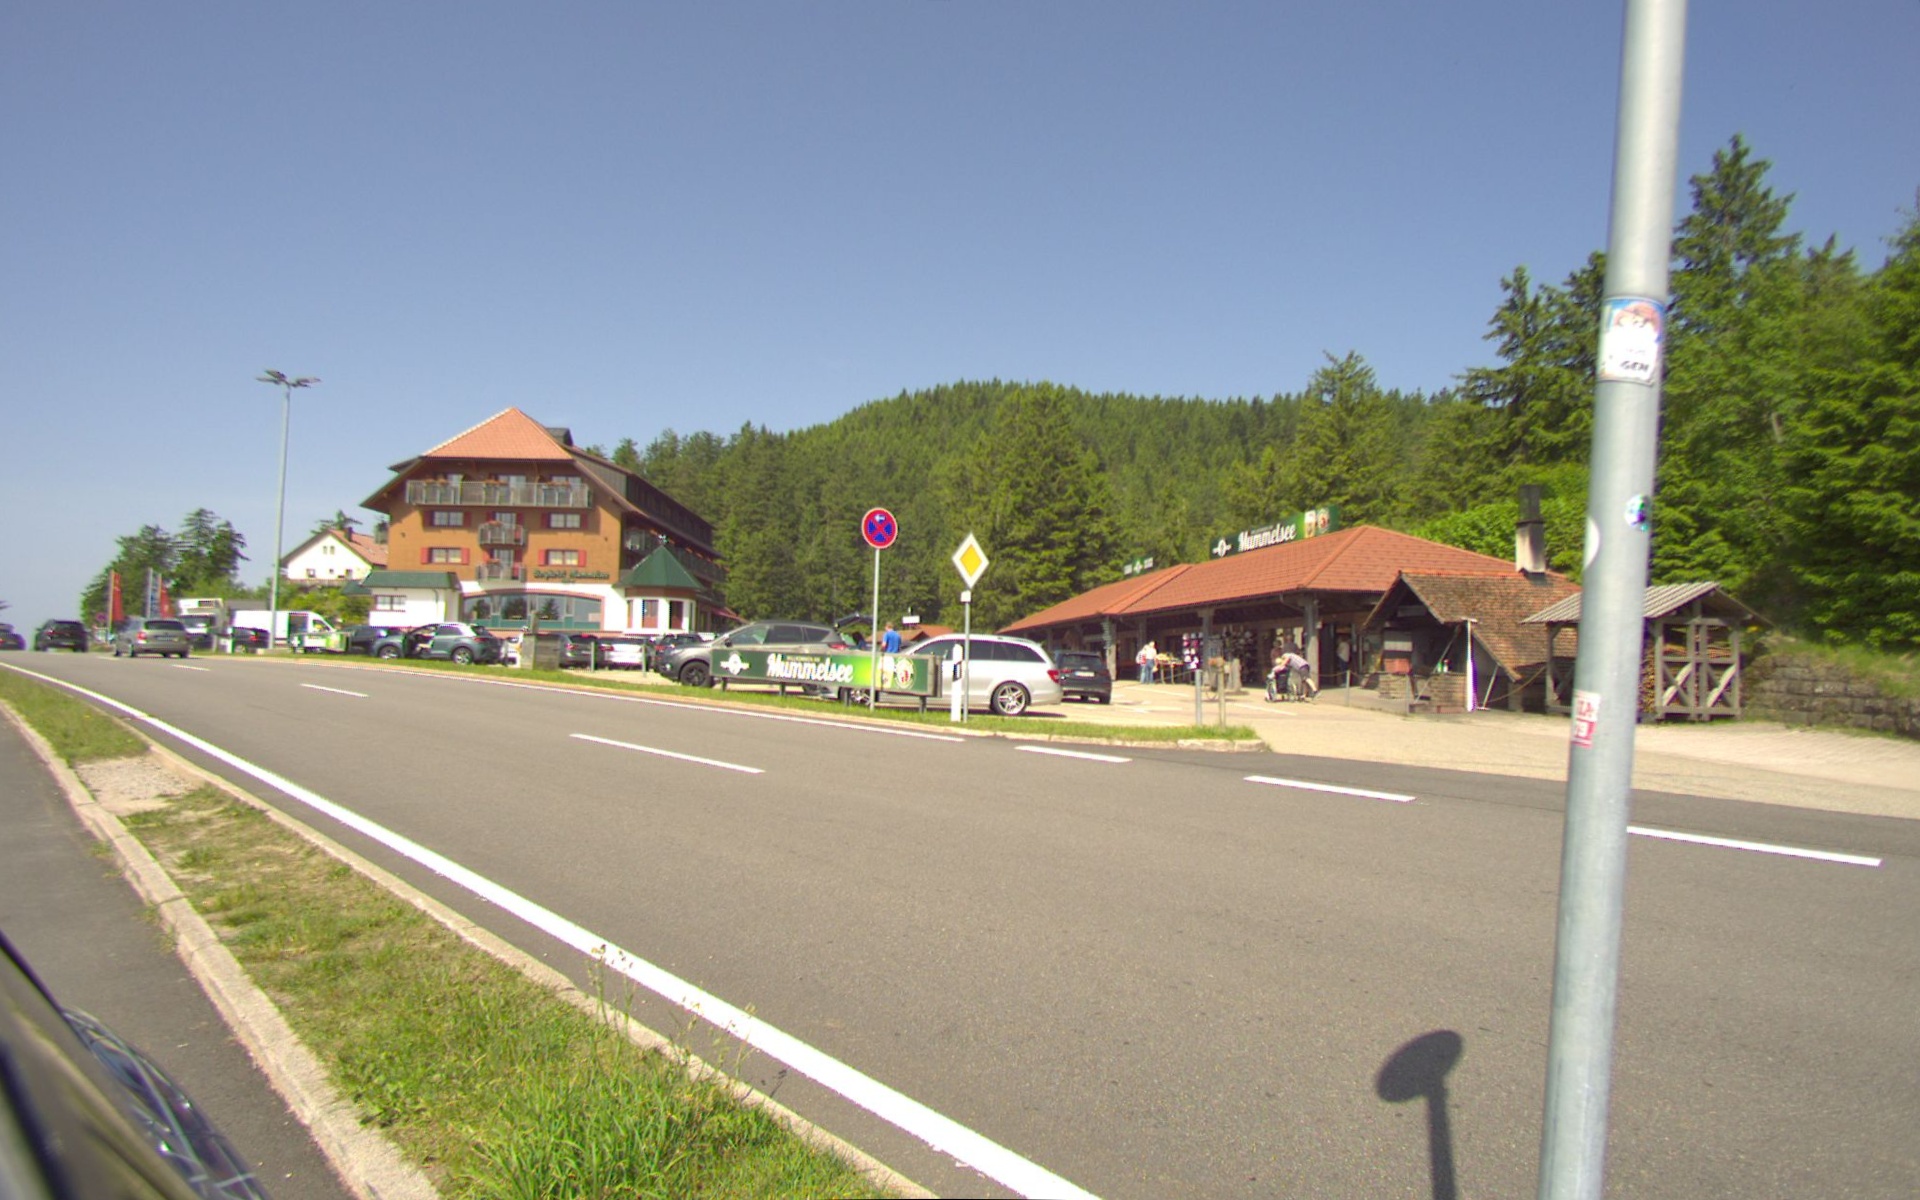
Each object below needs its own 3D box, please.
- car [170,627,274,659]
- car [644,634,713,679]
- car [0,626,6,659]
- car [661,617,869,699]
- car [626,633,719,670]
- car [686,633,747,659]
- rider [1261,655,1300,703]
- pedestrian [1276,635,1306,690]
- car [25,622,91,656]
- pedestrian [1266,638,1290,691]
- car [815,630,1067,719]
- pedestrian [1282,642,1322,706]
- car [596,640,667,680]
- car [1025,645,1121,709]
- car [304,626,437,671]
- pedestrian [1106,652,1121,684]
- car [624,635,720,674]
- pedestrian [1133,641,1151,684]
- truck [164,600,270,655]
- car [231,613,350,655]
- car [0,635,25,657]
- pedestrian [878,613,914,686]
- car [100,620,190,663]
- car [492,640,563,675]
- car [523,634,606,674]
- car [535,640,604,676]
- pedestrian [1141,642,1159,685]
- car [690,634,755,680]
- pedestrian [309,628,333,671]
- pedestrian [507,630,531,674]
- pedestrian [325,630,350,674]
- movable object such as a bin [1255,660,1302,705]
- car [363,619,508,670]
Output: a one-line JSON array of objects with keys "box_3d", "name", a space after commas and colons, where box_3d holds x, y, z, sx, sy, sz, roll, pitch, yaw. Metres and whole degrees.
[{"box_3d": [-38.995, 2.282, 53.569, 4.029, 1.539, 1.828, 2, -3, -9], "name": "car"}, {"box_3d": [-11.194, 2.253, 40.513, 1.797, 1.641, 4.097, 2, -3, -3], "name": "car"}, {"box_3d": [-83.455, 3.596, 86.734, 5.916, 2.772, 1.989, -1, -3, 43], "name": "car"}, {"box_3d": [-4.409, 1.333, 23.296, 4.481, 1.668, 1.725, 2, -3, -7], "name": "car"}, {"box_3d": [-13.987, 2.522, 49.404, 4.032, 1.641, 1.826, 2, -3, -6], "name": "car"}, {"box_3d": [-17.688, 3.332, 73.568, 4.033, 1.729, 1.922, 2, -3, -4], "name": "car"}, {"box_3d": [8.969, 2.199, 28.368, 0.829, 1.284, 0.908, 1, -2, 4], "name": "rider"}, {"box_3d": [10.815, 2.027, 33.088, 0.740, 1.750, 0.802, 1, -2, 4], "name": "pedestrian"}, {"box_3d": [-46.732, 2.020, 52.390, 4.565, 1.660, 1.972, -1, -3, 42], "name": "car"}, {"box_3d": [10.690, 2.174, 34.013, 0.555, 1.750, 0.664, -1, -3, 39], "name": "pedestrian"}, {"box_3d": [-0.405, 1.361, 18.682, 4.432, 1.441, 1.724, 2, -3, -6], "name": "car"}, {"box_3d": [9.276, 1.992, 27.449, 0.829, 1.712, 0.802, 1, -2, 4], "name": "pedestrian"}, {"box_3d": [-13.690, 2.477, 42.392, 1.797, 1.524, 4.097, 2, -3, -3], "name": "car"}, {"box_3d": [3.091, 2.113, 28.543, 1.971, 1.541, 4.003, 3, -2, -3], "name": "car"}, {"box_3d": [-23.684, 1.957, 40.809, 4.205, 1.641, 1.826, 2, -3, -6], "name": "car"}, {"box_3d": [6.900, 3.046, 45.481, 0.537, 1.442, 0.474, 1, -2, -7], "name": "pedestrian"}, {"box_3d": [-13.378, 2.545, 47.193, 4.032, 1.641, 1.826, 2, -3, -6], "name": "car"}, {"box_3d": [7.187, 2.462, 39.966, 0.499, 1.668, 0.472, 2, -2, -14], "name": "pedestrian"}, {"box_3d": [-55.221, 2.100, 75.565, 2.837, 3.850, 9.037, 0, -2, -11], "name": "truck"}, {"box_3d": [-47.867, 2.469, 72.612, 6.846, 2.812, 2.675, 3, -3, -30], "name": "car"}, {"box_3d": [-68.507, 3.298, 72.544, 4.447, 1.449, 1.688, -1, -3, 41], "name": "car"}, {"box_3d": [-1.497, 1.147, 23.610, 0.734, 1.648, 0.848, 2, -3, -9], "name": "pedestrian"}, {"box_3d": [-30.462, 1.494, 37.780, 4.712, 1.485, 1.859, -1, -2, 41], "name": "car"}, {"box_3d": [-20.447, 2.710, 48.002, 1.797, 1.524, 4.097, 2, -3, -3], "name": "car"}, {"box_3d": [-15.528, 2.083, 39.651, 1.695, 1.441, 4.005, 4, -4, -42], "name": "car"}, {"box_3d": [-18.025, 2.680, 46.928, 1.797, 1.524, 4.097, 2, -3, -3], "name": "car"}, {"box_3d": [7.408, 2.468, 39.446, 0.499, 1.668, 0.472, 2, -2, -14], "name": "pedestrian"}, {"box_3d": [-9.284, 2.219, 39.906, 1.797, 1.641, 4.097, 2, -3, -3], "name": "car"}, {"box_3d": [-30.995, 2.397, 49.072, 0.802, 2.029, 0.708, -1, -3, 40], "name": "pedestrian"}, {"box_3d": [-17.030, 2.005, 39.078, 0.733, 1.637, 0.685, 2, -3, -19], "name": "pedestrian"}, {"box_3d": [-29.084, 2.405, 47.292, 0.802, 2.029, 0.708, -1, -3, 40], "name": "pedestrian"}, {"box_3d": [8.955, 2.309, 28.494, 0.971, 1.198, 1.215, 1, -2, 4], "name": "movable object such as a bin"}, {"box_3d": [-18.820, 1.612, 36.465, 4.205, 1.641, 1.826, 2, -3, -6], "name": "car"}]
